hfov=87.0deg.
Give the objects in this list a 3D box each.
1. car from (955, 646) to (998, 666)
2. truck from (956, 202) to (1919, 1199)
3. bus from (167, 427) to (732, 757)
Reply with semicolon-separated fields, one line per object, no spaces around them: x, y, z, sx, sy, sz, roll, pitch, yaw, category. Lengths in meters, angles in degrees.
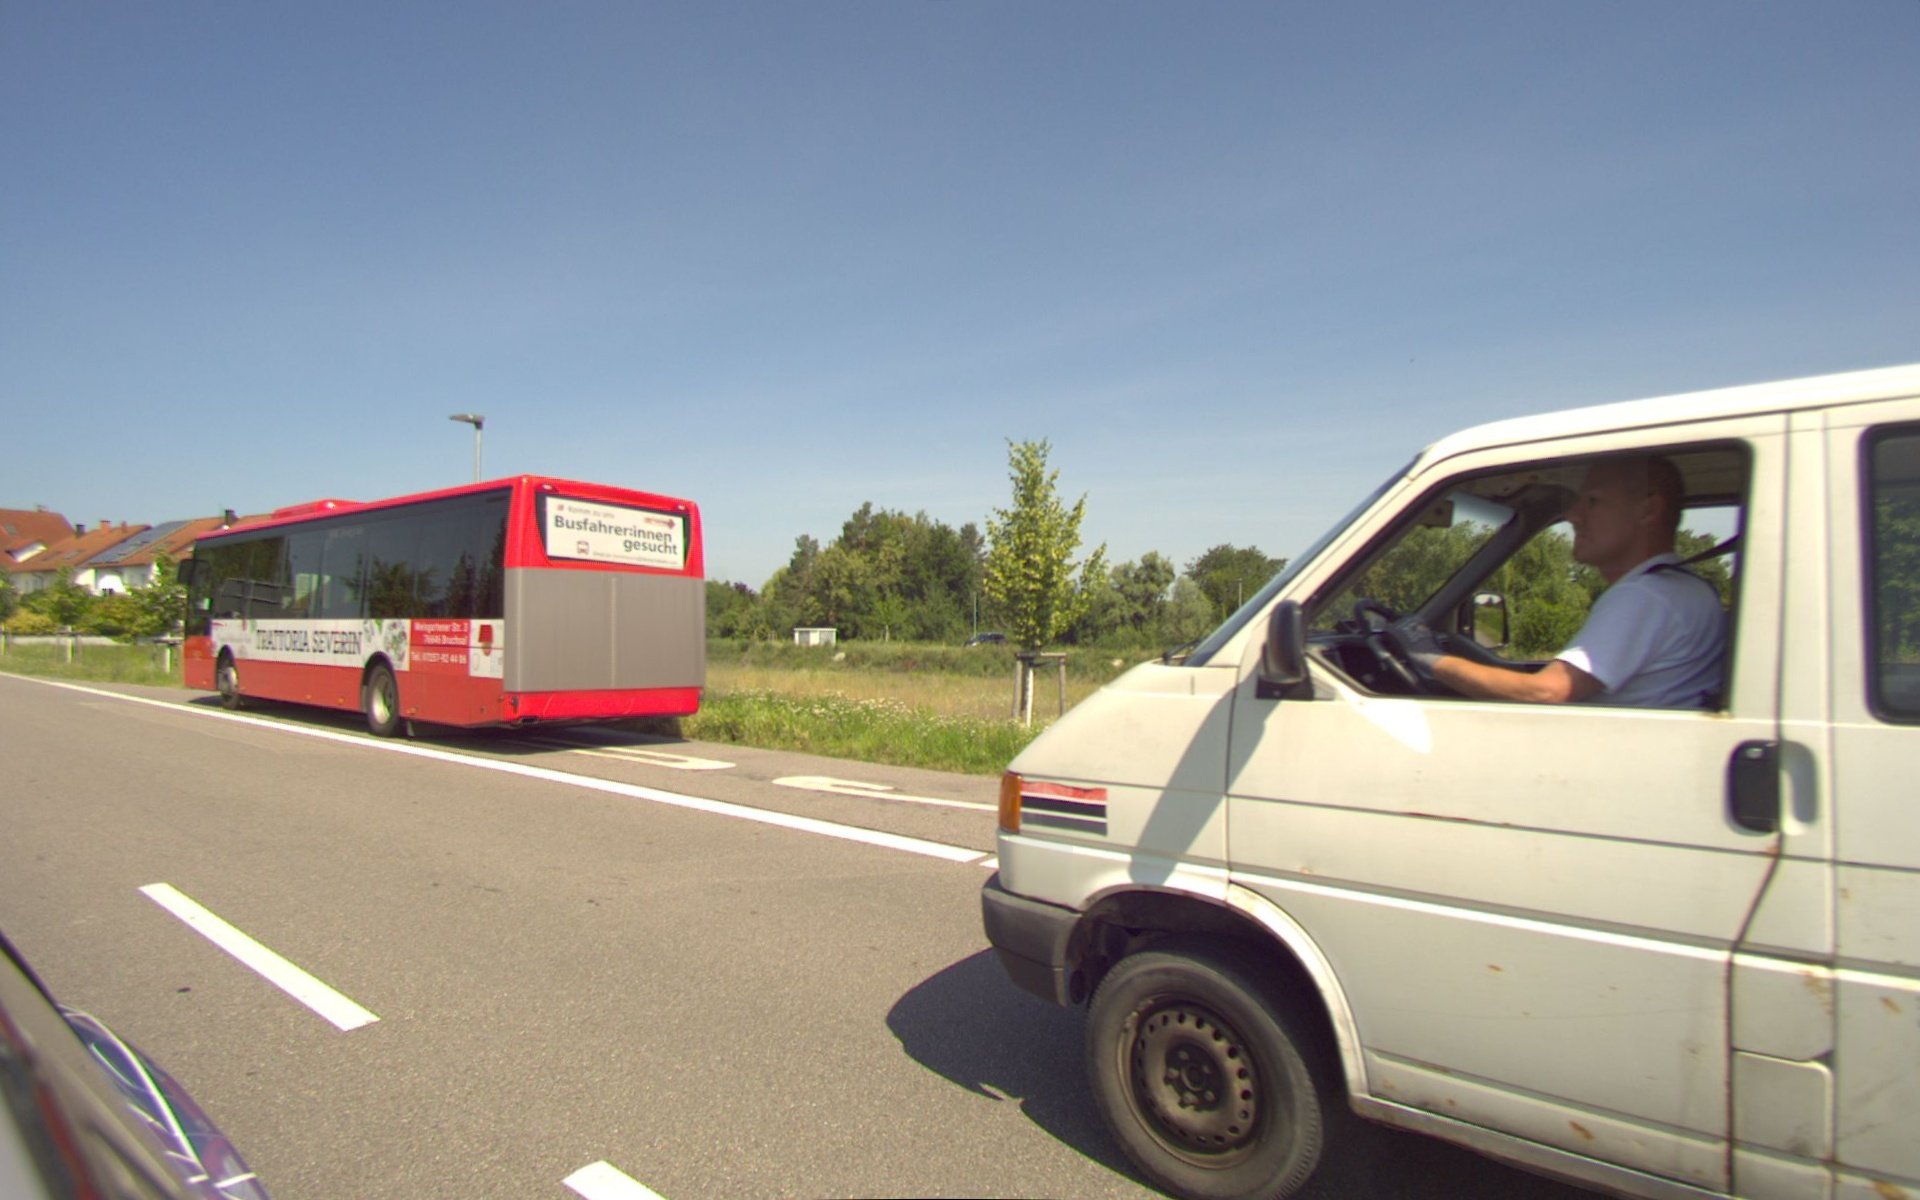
1.335;4.419;79.675;1.511;1.547;3.510;-1;-3;39;car
2.781;0.365;1.728;5.638;2.000;1.932;-2;-1;40;truck
-8.384;0.145;15.115;12.217;3.312;2.766;-2;-5;40;bus
